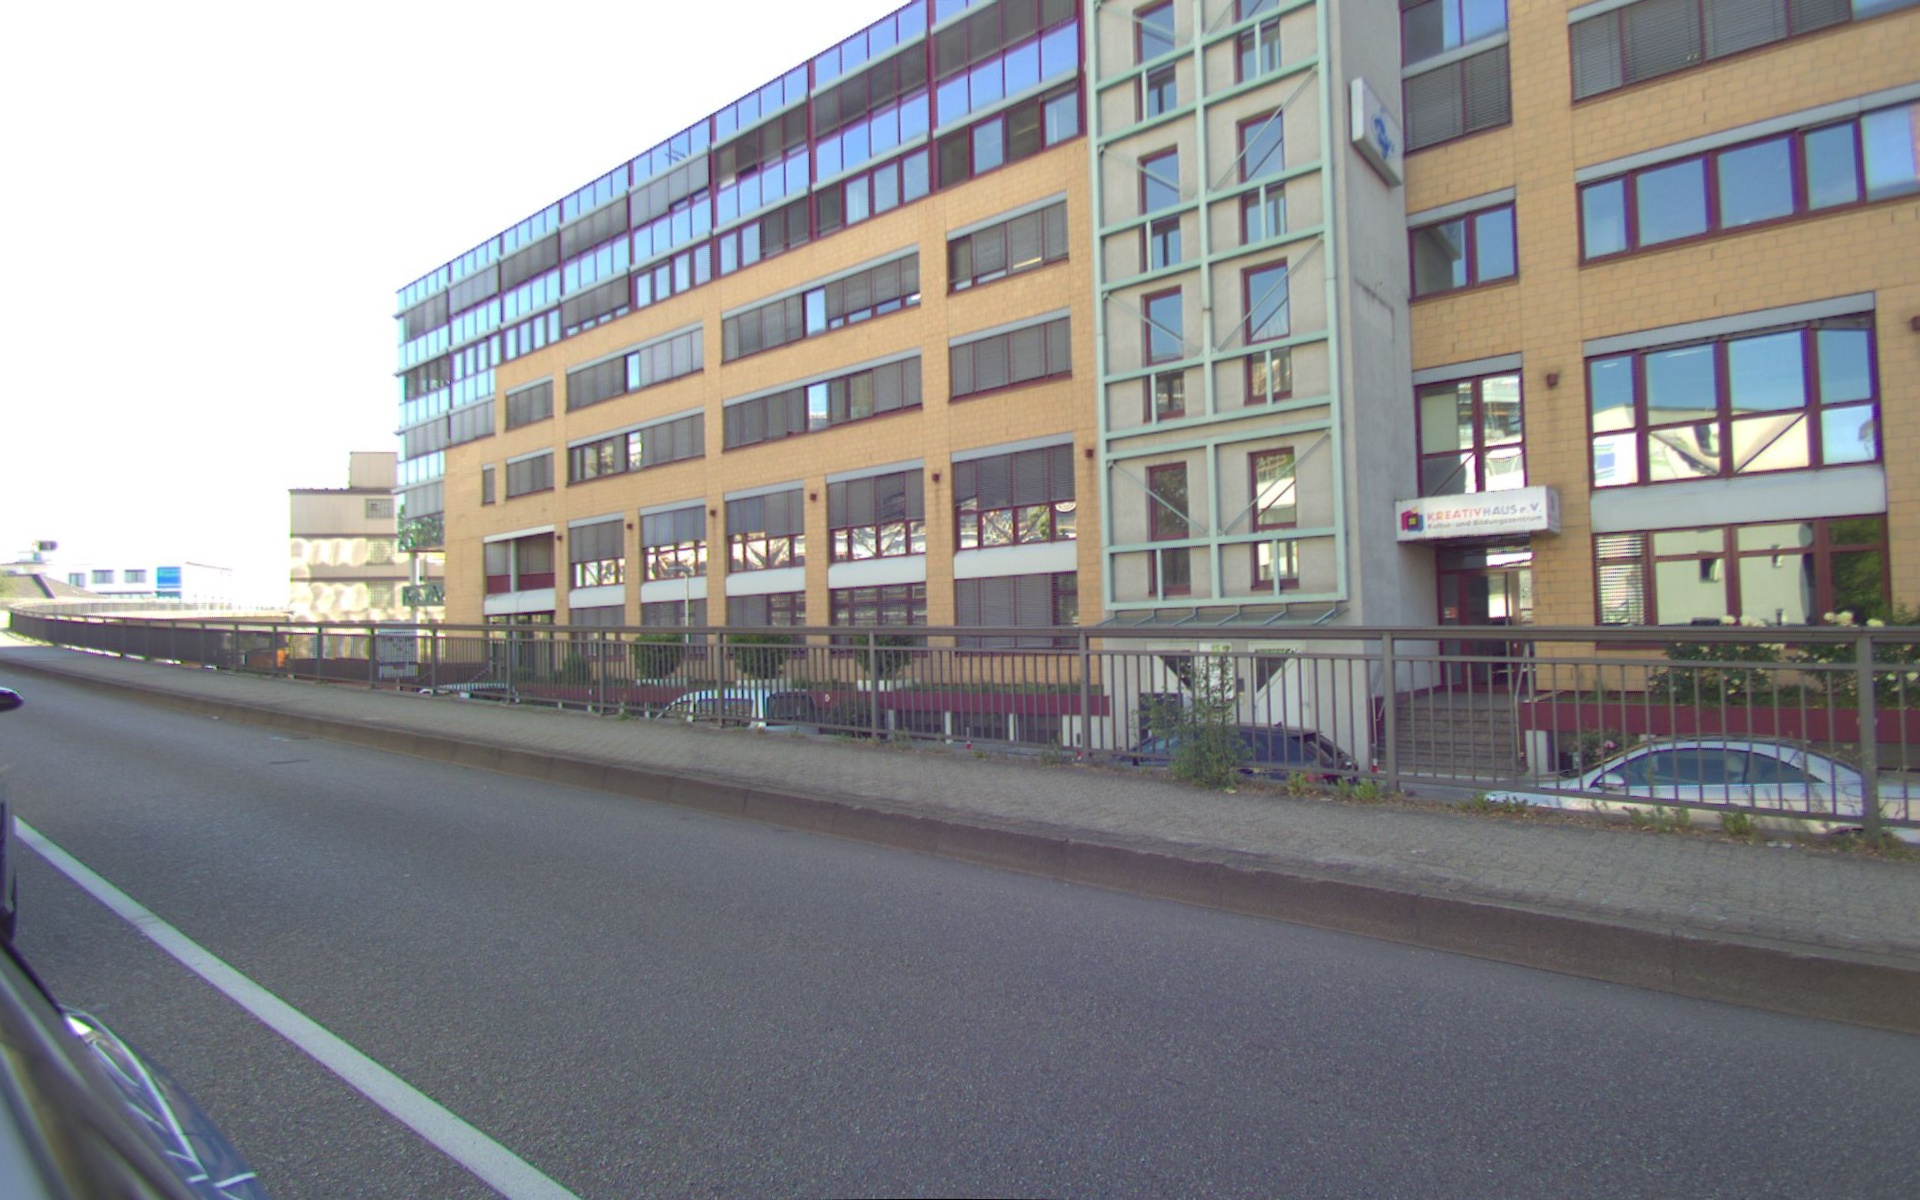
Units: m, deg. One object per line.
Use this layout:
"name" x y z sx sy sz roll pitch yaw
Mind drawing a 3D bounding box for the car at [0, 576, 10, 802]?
"car" -5.845 0.776 4.657 3.998 1.660 1.726 -3 -4 41

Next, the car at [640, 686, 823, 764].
"car" -4.595 2.417 20.125 3.805 1.279 1.560 -3 -4 40

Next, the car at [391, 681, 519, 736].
"car" -13.820 2.919 27.625 3.805 1.279 1.744 -3 -4 40

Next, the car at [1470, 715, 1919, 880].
"car" 7.684 1.878 10.204 4.254 1.175 1.704 -3 -4 40

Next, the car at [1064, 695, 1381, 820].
"car" 3.417 1.995 13.557 3.805 1.279 1.560 -3 -4 40
